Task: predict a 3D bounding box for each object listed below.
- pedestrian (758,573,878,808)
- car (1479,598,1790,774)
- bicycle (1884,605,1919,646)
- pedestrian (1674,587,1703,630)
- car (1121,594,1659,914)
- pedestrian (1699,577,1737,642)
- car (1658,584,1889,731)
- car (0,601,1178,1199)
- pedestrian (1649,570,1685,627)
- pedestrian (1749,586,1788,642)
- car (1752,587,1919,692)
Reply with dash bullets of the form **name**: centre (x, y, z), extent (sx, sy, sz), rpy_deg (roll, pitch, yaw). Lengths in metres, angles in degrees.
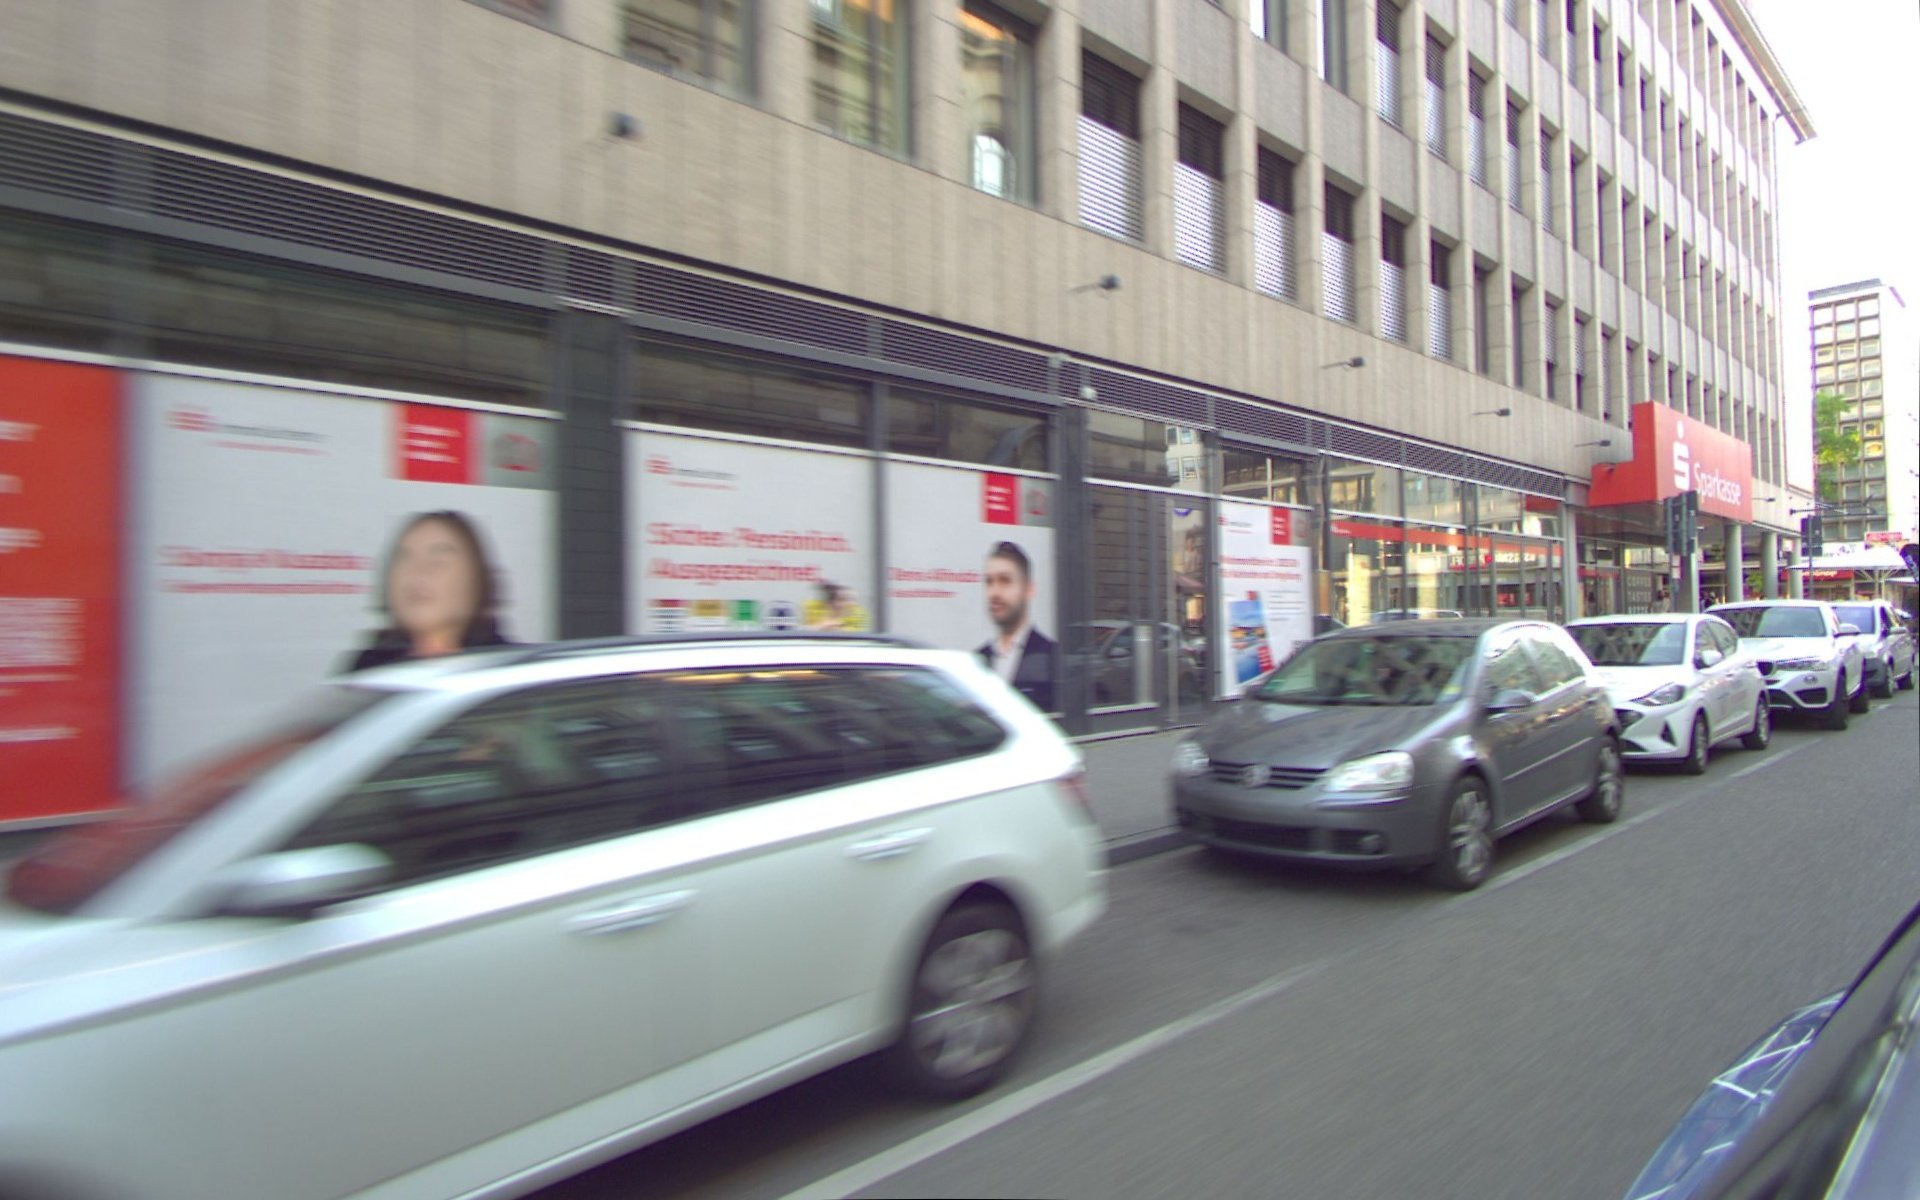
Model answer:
- **pedestrian**: centre (-1.070, 0.634, 7.588), extent (0.639, 1.656, 0.649), rpy_deg (0, 0, -41)
- **car**: centre (7.144, 0.762, 10.590), extent (3.801, 1.466, 1.659), rpy_deg (-1, -2, -40)
- **bicycle**: centre (24.908, 0.654, 26.666), extent (1.827, 1.046, 0.330), rpy_deg (0, -1, -32)
- **pedestrian**: centre (29.176, 0.334, 40.532), extent (0.756, 1.710, 0.795), rpy_deg (1, -1, -42)
- **car**: centre (3.143, 0.747, 6.878), extent (4.370, 1.466, 1.658), rpy_deg (-1, -2, -42)
- **pedestrian**: centre (23.112, 0.290, 30.861), extent (0.675, 1.943, 0.798), rpy_deg (1, -1, -41)
- **car**: centre (11.339, 0.668, 13.972), extent (4.732, 1.687, 1.777), rpy_deg (-1, -2, -43)
- **car**: centre (-1.326, 0.794, 3.074), extent (4.233, 1.466, 1.659), rpy_deg (-1, -2, -41)
- **pedestrian**: centre (22.362, -0.041, 32.018), extent (0.676, 1.784, 0.798), rpy_deg (1, -1, -44)
- **pedestrian**: centre (26.188, 0.451, 32.807), extent (0.790, 1.784, 0.682), rpy_deg (0, -1, 22)
- **car**: centre (15.615, 0.650, 17.776), extent (4.631, 1.619, 1.742), rpy_deg (0, -3, -41)
